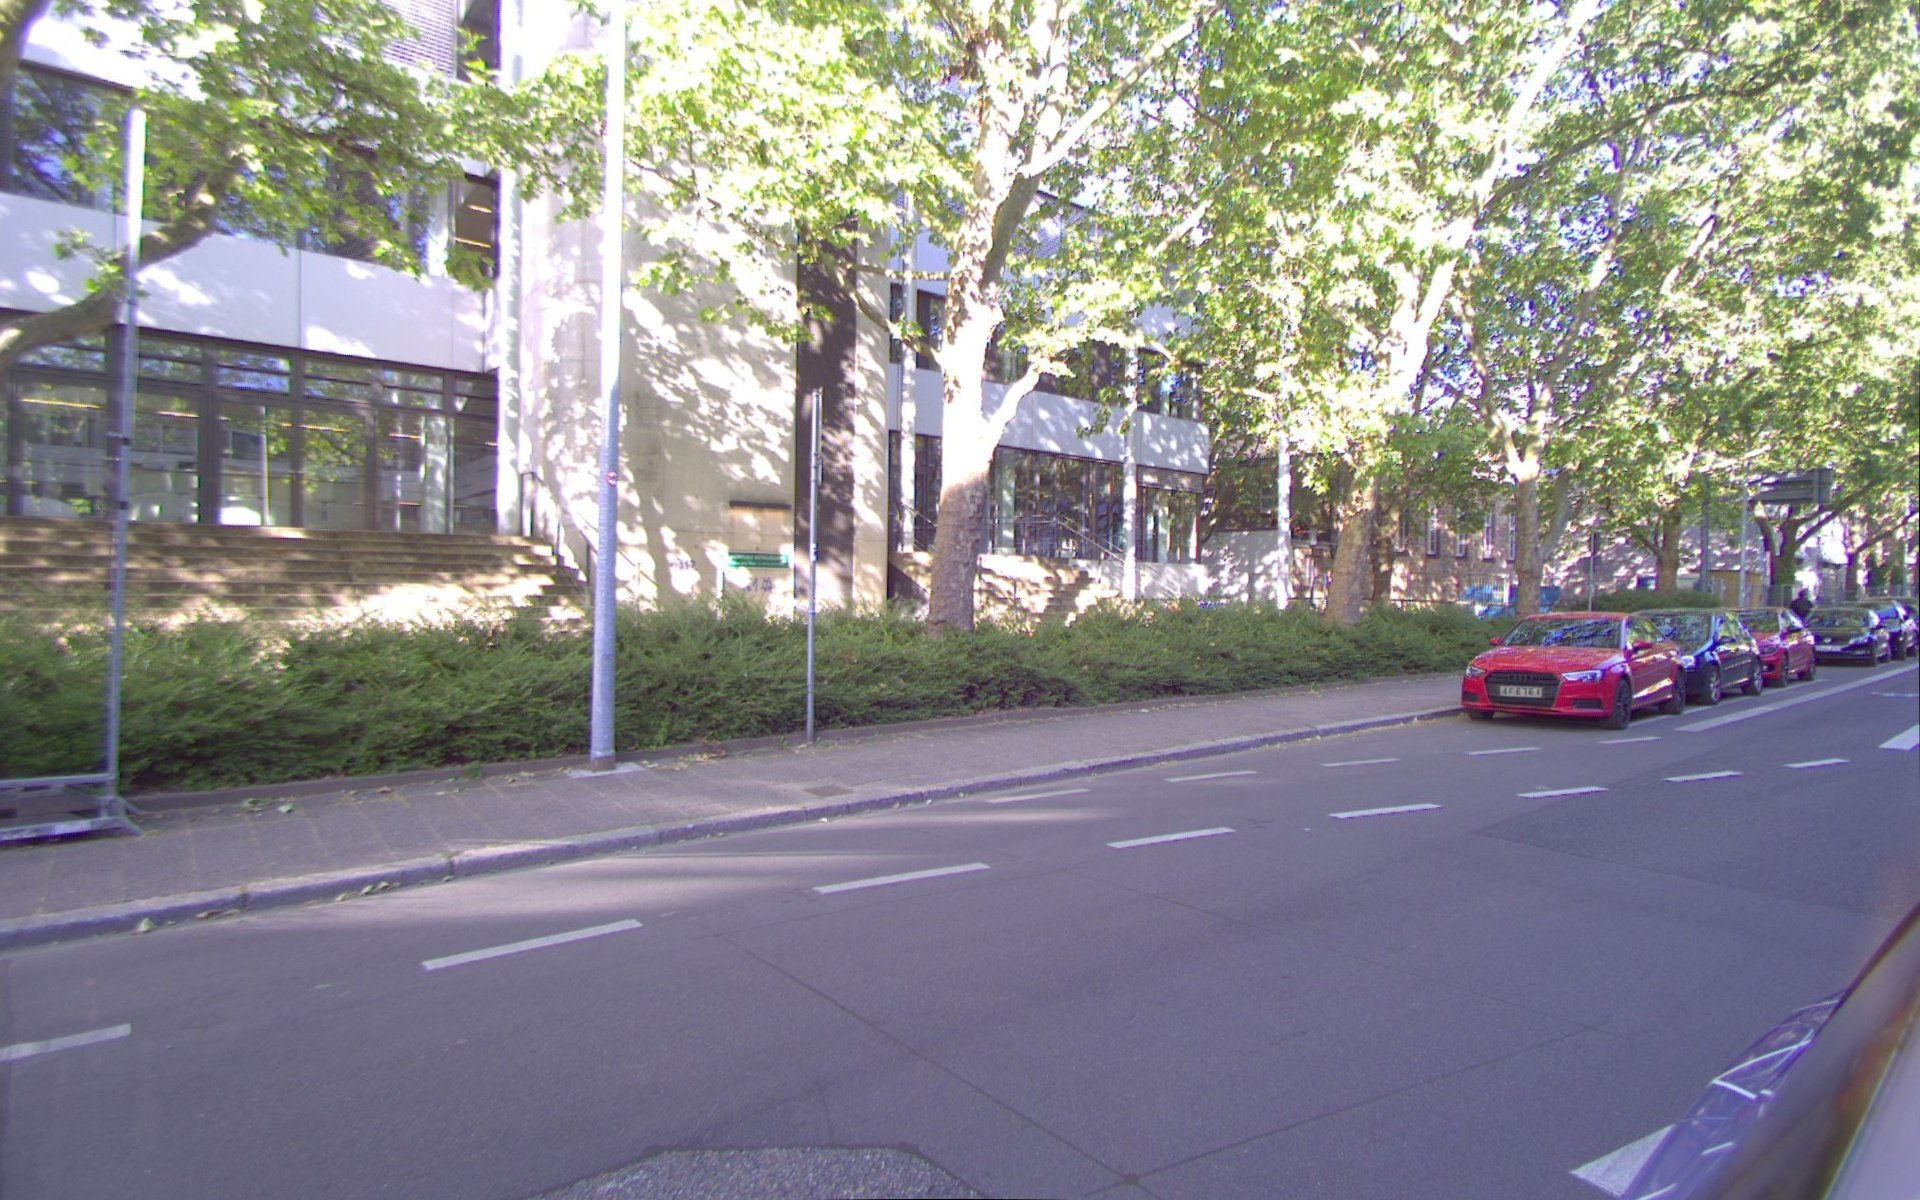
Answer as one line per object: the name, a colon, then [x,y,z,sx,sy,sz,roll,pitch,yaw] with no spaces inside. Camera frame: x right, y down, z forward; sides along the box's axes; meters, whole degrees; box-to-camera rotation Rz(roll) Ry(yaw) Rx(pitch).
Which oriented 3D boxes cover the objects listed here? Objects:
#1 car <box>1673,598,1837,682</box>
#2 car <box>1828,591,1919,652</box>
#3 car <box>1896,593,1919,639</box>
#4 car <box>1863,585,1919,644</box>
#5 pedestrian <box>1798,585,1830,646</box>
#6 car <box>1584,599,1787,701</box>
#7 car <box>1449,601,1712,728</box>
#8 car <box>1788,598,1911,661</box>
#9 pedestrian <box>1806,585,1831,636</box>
car: [15.834,0.709,20.090,4.095,1.486,1.834,0,0,-41]
car: [26.556,0.573,29.076,4.088,1.626,1.834,0,0,-40]
car: [35.905,0.581,37.091,4.183,1.634,1.834,0,0,-40]
car: [31.041,0.439,32.965,4.383,1.820,1.834,0,0,-40]
pedestrian: [26.708,0.481,31.648,0.629,1.884,0.660,0,0,-41]
car: [12.019,0.719,16.676,4.095,1.464,1.834,0,0,-41]
car: [8.400,0.737,13.559,4.173,1.422,1.834,0,0,-41]
car: [22.867,0.702,25.982,4.095,1.486,1.834,0,0,-41]
pedestrian: [31.062,0.362,36.627,0.583,1.818,0.600,0,0,-41]
